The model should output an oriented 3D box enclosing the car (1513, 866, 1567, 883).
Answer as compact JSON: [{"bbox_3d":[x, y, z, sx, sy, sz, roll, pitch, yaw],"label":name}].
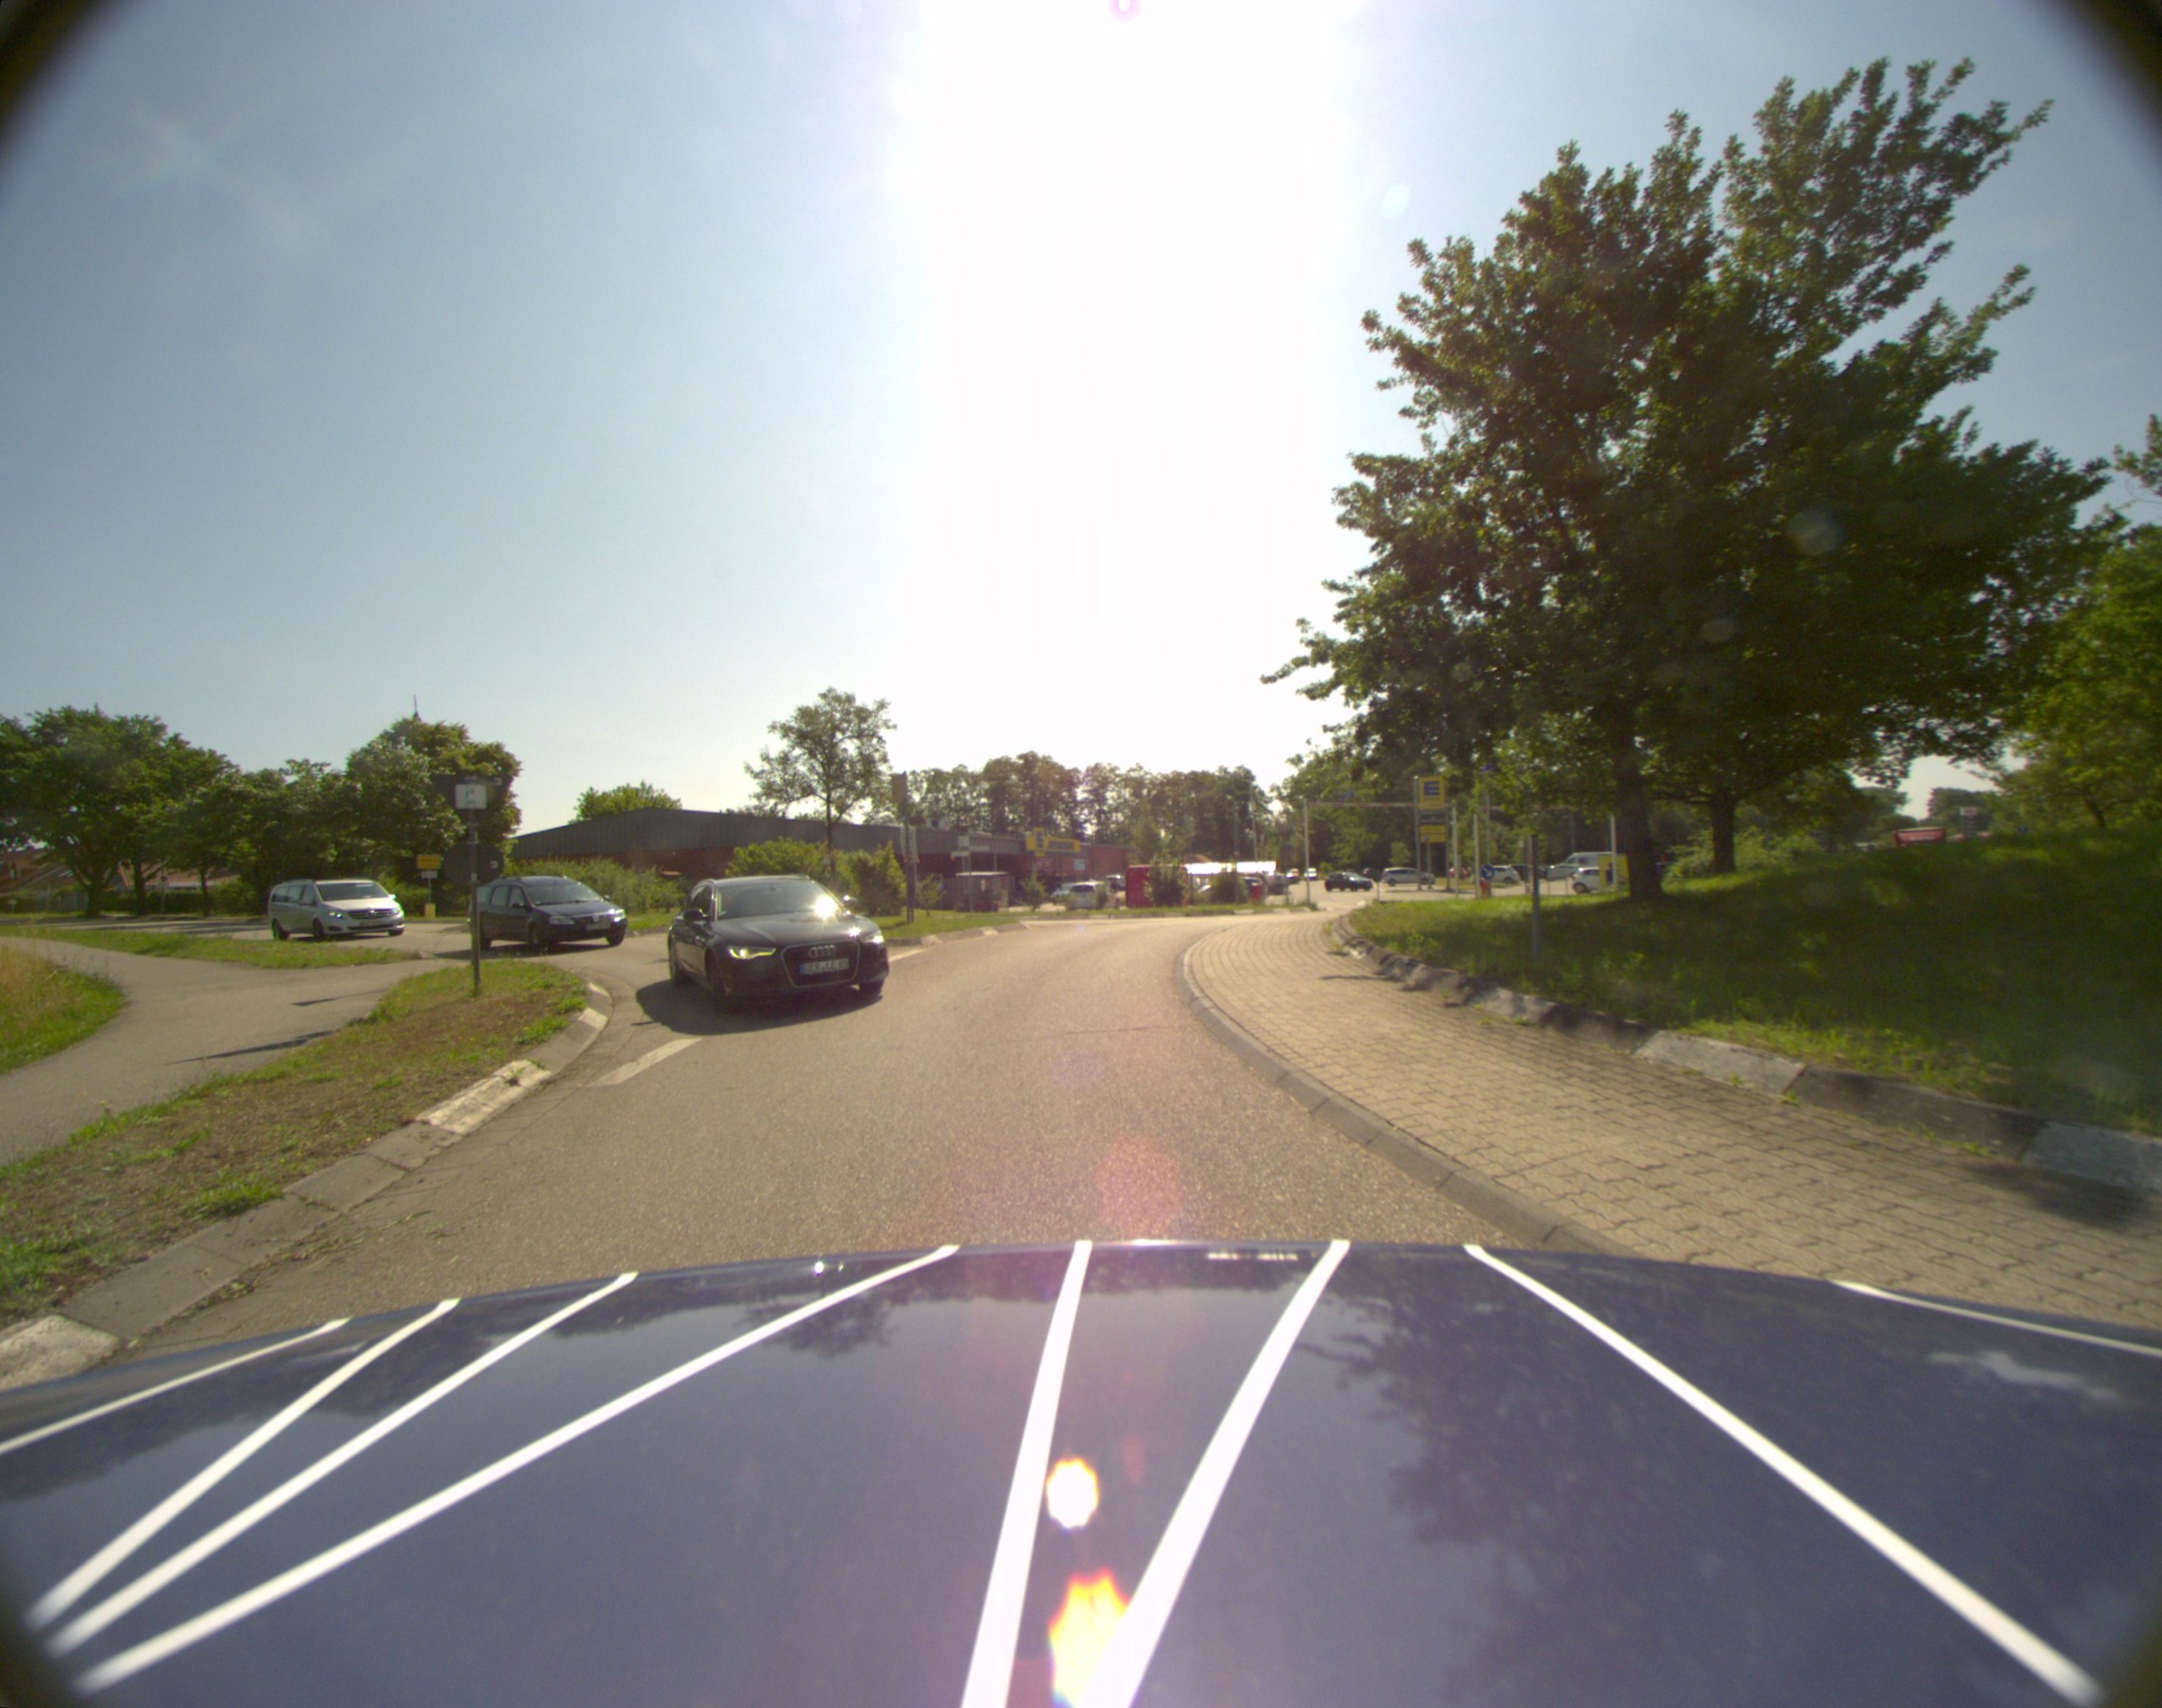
[{"bbox_3d":[41.762,1.866,69.156,3.989,1.418,1.753,-2,-2,39],"label":"car"}]

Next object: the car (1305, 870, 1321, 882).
[{"bbox_3d":[34.274,3.232,112.239,2.067,1.700,4.006,-2,-1,20],"label":"car"}]

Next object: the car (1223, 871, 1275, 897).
[{"bbox_3d":[12.837,2.304,58.135,3.484,1.917,1.883,-2,-2,26],"label":"car"}]

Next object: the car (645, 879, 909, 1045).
[{"bbox_3d":[-4.144,1.111,9.751,1.927,1.426,4.900,-4,1,-36],"label":"car"}]

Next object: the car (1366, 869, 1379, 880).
[{"bbox_3d":[42.132,2.961,109.899,1.659,1.477,4.380,-1,-1,20],"label":"car"}]

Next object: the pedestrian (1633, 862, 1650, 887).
[{"bbox_3d":[41.320,1.510,55.987,0.868,1.786,0.819,0,-2,-44],"label":"pedestrian"}]

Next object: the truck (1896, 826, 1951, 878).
[{"bbox_3d":[66.291,-0.089,59.846,5.963,3.891,2.715,0,-2,-42],"label":"truck"}]

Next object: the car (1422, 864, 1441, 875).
[{"bbox_3d":[49.690,2.186,107.831,2.067,1.477,4.006,-2,-1,20],"label":"car"}]

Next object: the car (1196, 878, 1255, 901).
[{"bbox_3d":[9.566,2.332,50.338,3.484,1.448,1.720,-2,-2,26],"label":"car"}]

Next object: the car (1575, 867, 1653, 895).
[{"bbox_3d":[30.987,1.561,44.189,3.595,1.552,1.818,-1,-1,39],"label":"car"}]

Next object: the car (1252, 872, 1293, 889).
[{"bbox_3d":[20.615,2.859,81.717,3.990,1.651,2.004,-2,-2,25],"label":"car"}]

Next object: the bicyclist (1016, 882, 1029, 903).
[{"bbox_3d":[-4.101,2.694,53.299,0.676,1.505,0.609,-2,-2,37],"label":"bicyclist"}]

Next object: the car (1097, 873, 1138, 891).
[{"bbox_3d":[3.944,3.026,81.290,3.992,1.804,2.003,-2,-2,15],"label":"car"}]

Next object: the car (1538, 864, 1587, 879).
[{"bbox_3d":[47.577,1.749,75.112,3.964,1.444,1.909,-2,-2,36],"label":"car"}]

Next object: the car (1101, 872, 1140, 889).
[{"bbox_3d":[4.471,2.984,86.138,3.992,1.805,2.003,-2,-1,15],"label":"car"}]

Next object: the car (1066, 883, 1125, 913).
[{"bbox_3d":[0.798,2.218,38.780,1.722,1.437,3.779,-2,-3,22],"label":"car"}]

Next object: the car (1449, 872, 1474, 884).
[{"bbox_3d":[47.172,2.992,94.281,1.996,1.456,4.501,-1,-1,16],"label":"car"}]

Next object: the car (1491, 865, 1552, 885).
[{"bbox_3d":[38.006,1.811,65.663,4.155,1.564,2.004,-3,-3,43],"label":"car"}]

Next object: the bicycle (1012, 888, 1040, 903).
[{"bbox_3d":[-3.864,2.922,53.108,2.070,1.035,0.555,-2,-2,37],"label":"bicycle"}]

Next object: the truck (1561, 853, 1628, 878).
[{"bbox_3d":[55.572,1.270,82.337,2.208,2.589,5.602,0,-2,-45],"label":"truck"}]

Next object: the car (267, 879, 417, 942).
[{"bbox_3d":[-23.548,1.754,24.163,5.188,1.804,2.004,-2,-2,29],"label":"car"}]

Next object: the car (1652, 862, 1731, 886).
[{"bbox_3d":[43.352,1.462,54.036,1.756,1.617,4.122,-1,-2,-43],"label":"car"}]

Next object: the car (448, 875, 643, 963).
[{"bbox_3d":[-12.234,1.426,17.282,4.643,1.631,1.819,-3,2,31],"label":"car"}]

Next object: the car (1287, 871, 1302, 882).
[{"bbox_3d":[31.760,3.313,112.951,1.792,1.586,4.267,-1,-1,19],"label":"car"}]

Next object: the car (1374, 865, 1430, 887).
[{"bbox_3d":[29.720,2.047,70.420,4.551,1.691,2.003,-4,-2,19],"label":"car"}]

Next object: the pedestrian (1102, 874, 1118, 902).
[{"bbox_3d":[1.924,2.260,50.932,0.839,1.859,0.775,-2,-2,18],"label":"pedestrian"}]

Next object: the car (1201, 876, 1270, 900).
[{"bbox_3d":[10.816,2.382,53.133,4.418,1.561,1.719,-2,-2,23],"label":"car"}]

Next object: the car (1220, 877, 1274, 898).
[{"bbox_3d":[12.165,2.470,55.781,3.484,1.488,1.720,-2,-2,26],"label":"car"}]

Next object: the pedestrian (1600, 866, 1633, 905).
[{"bbox_3d":[24.878,1.440,35.316,0.843,1.774,0.880,-1,-2,-12],"label":"pedestrian"}]

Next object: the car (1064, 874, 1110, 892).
[{"bbox_3d":[0.565,2.761,72.572,3.992,1.673,2.003,-2,-2,15],"label":"car"}]

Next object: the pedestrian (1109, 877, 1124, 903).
[{"bbox_3d":[2.248,2.246,48.032,0.814,1.609,0.926,-1,-2,-6],"label":"pedestrian"}]

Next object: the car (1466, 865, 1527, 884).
[{"bbox_3d":[33.901,1.672,62.027,1.654,1.433,3.989,0,-2,-44],"label":"car"}]

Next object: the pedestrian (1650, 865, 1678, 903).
[{"bbox_3d":[25.824,1.317,33.647,0.596,1.638,0.703,-1,-2,-11],"label":"pedestrian"}]

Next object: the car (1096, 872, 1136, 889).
[{"bbox_3d":[3.914,2.915,83.843,3.992,1.805,2.003,-2,-1,15],"label":"car"}]

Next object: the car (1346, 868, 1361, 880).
[{"bbox_3d":[39.822,2.880,111.014,2.067,1.700,4.006,-2,-1,20],"label":"car"}]

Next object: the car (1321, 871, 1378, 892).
[{"bbox_3d":[21.659,2.255,61.284,1.665,1.578,3.990,0,-2,-41],"label":"car"}]
